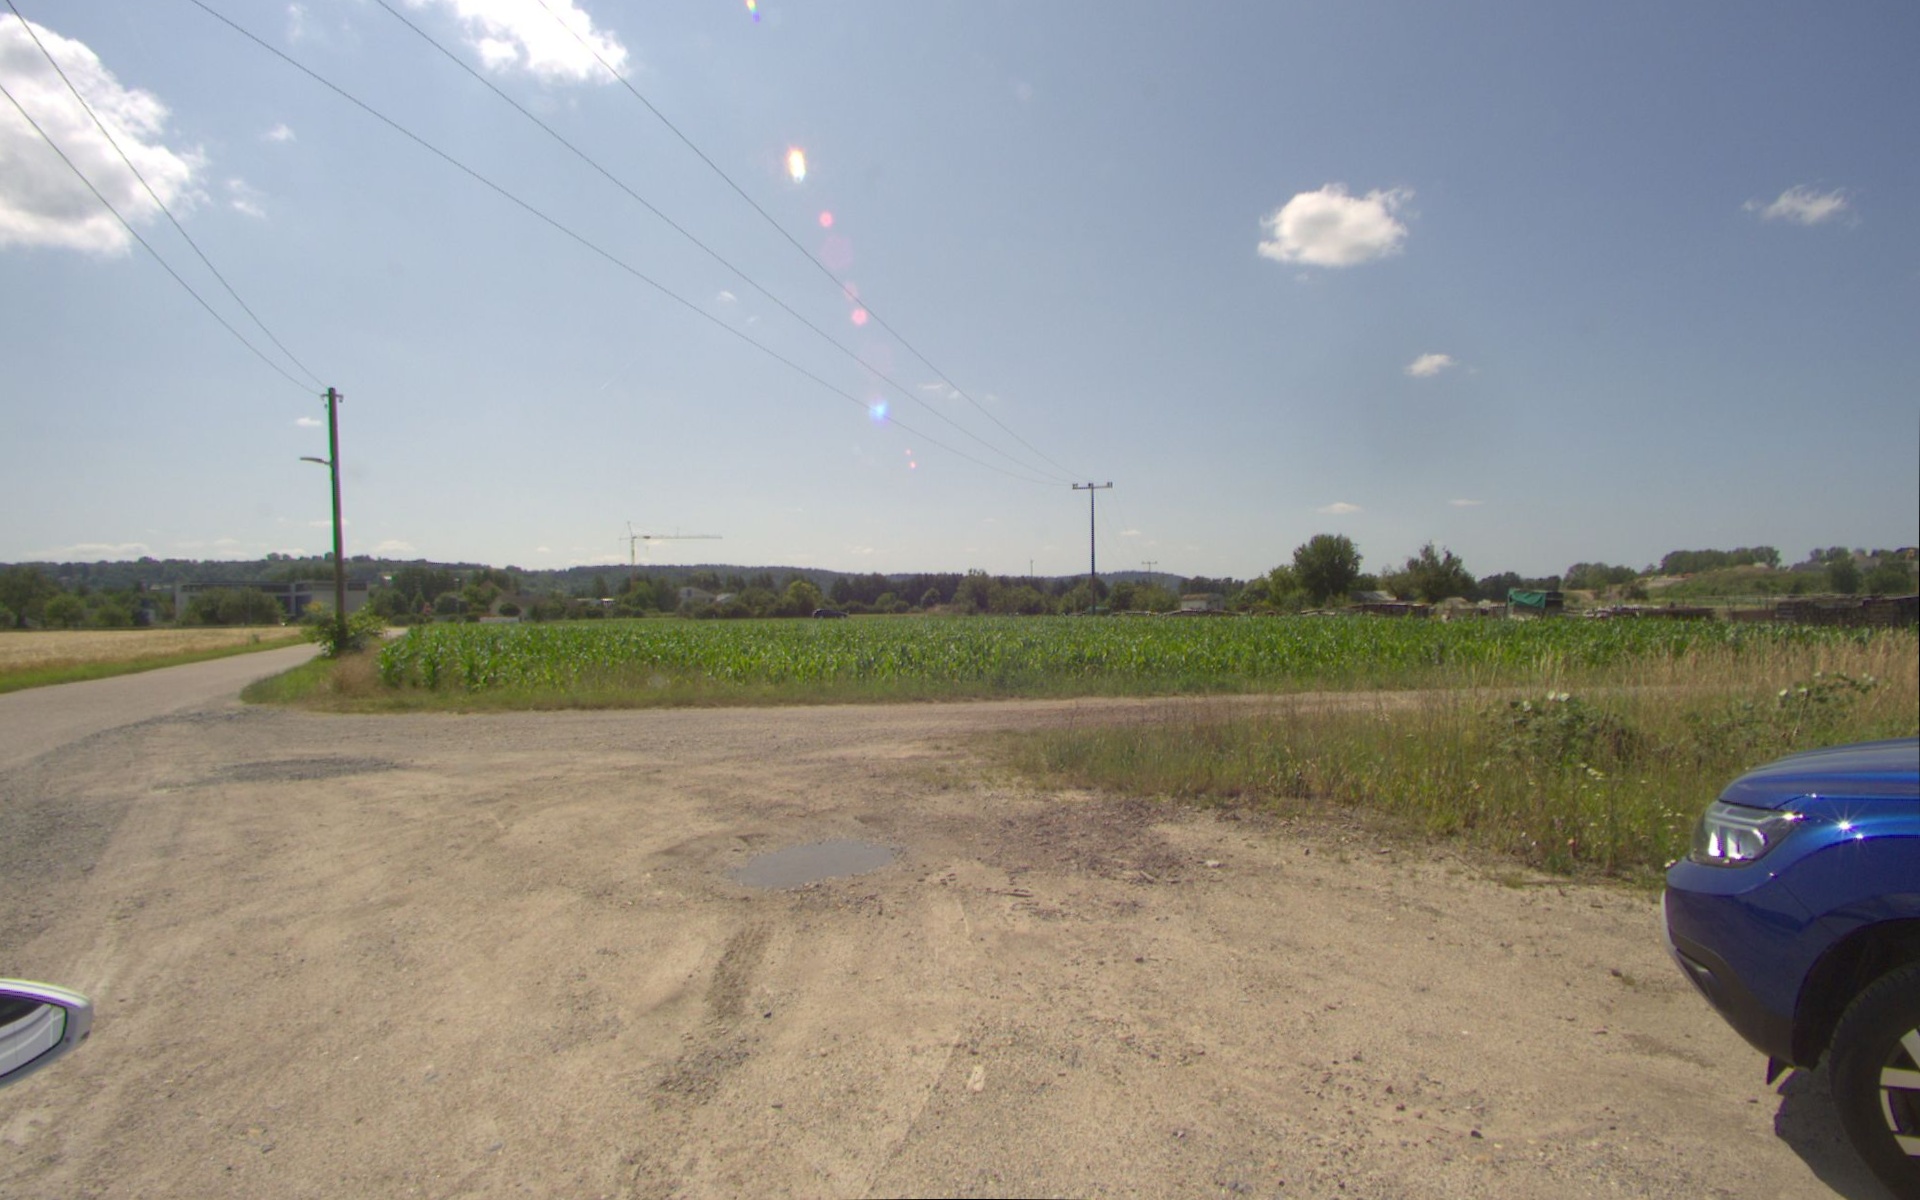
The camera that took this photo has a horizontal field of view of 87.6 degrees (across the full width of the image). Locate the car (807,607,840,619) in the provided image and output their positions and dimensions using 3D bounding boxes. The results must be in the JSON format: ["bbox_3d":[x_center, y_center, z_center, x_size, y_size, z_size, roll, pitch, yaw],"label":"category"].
[{"bbox_3d":[-17.977,1.653,131.917,4.214,1.522,1.814,-1,0,-14],"label":"car"}]

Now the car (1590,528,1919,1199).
[{"bbox_3d":[3.930,0.640,1.770,1.843,1.682,4.423,1,-2,-39],"label":"car"}]
